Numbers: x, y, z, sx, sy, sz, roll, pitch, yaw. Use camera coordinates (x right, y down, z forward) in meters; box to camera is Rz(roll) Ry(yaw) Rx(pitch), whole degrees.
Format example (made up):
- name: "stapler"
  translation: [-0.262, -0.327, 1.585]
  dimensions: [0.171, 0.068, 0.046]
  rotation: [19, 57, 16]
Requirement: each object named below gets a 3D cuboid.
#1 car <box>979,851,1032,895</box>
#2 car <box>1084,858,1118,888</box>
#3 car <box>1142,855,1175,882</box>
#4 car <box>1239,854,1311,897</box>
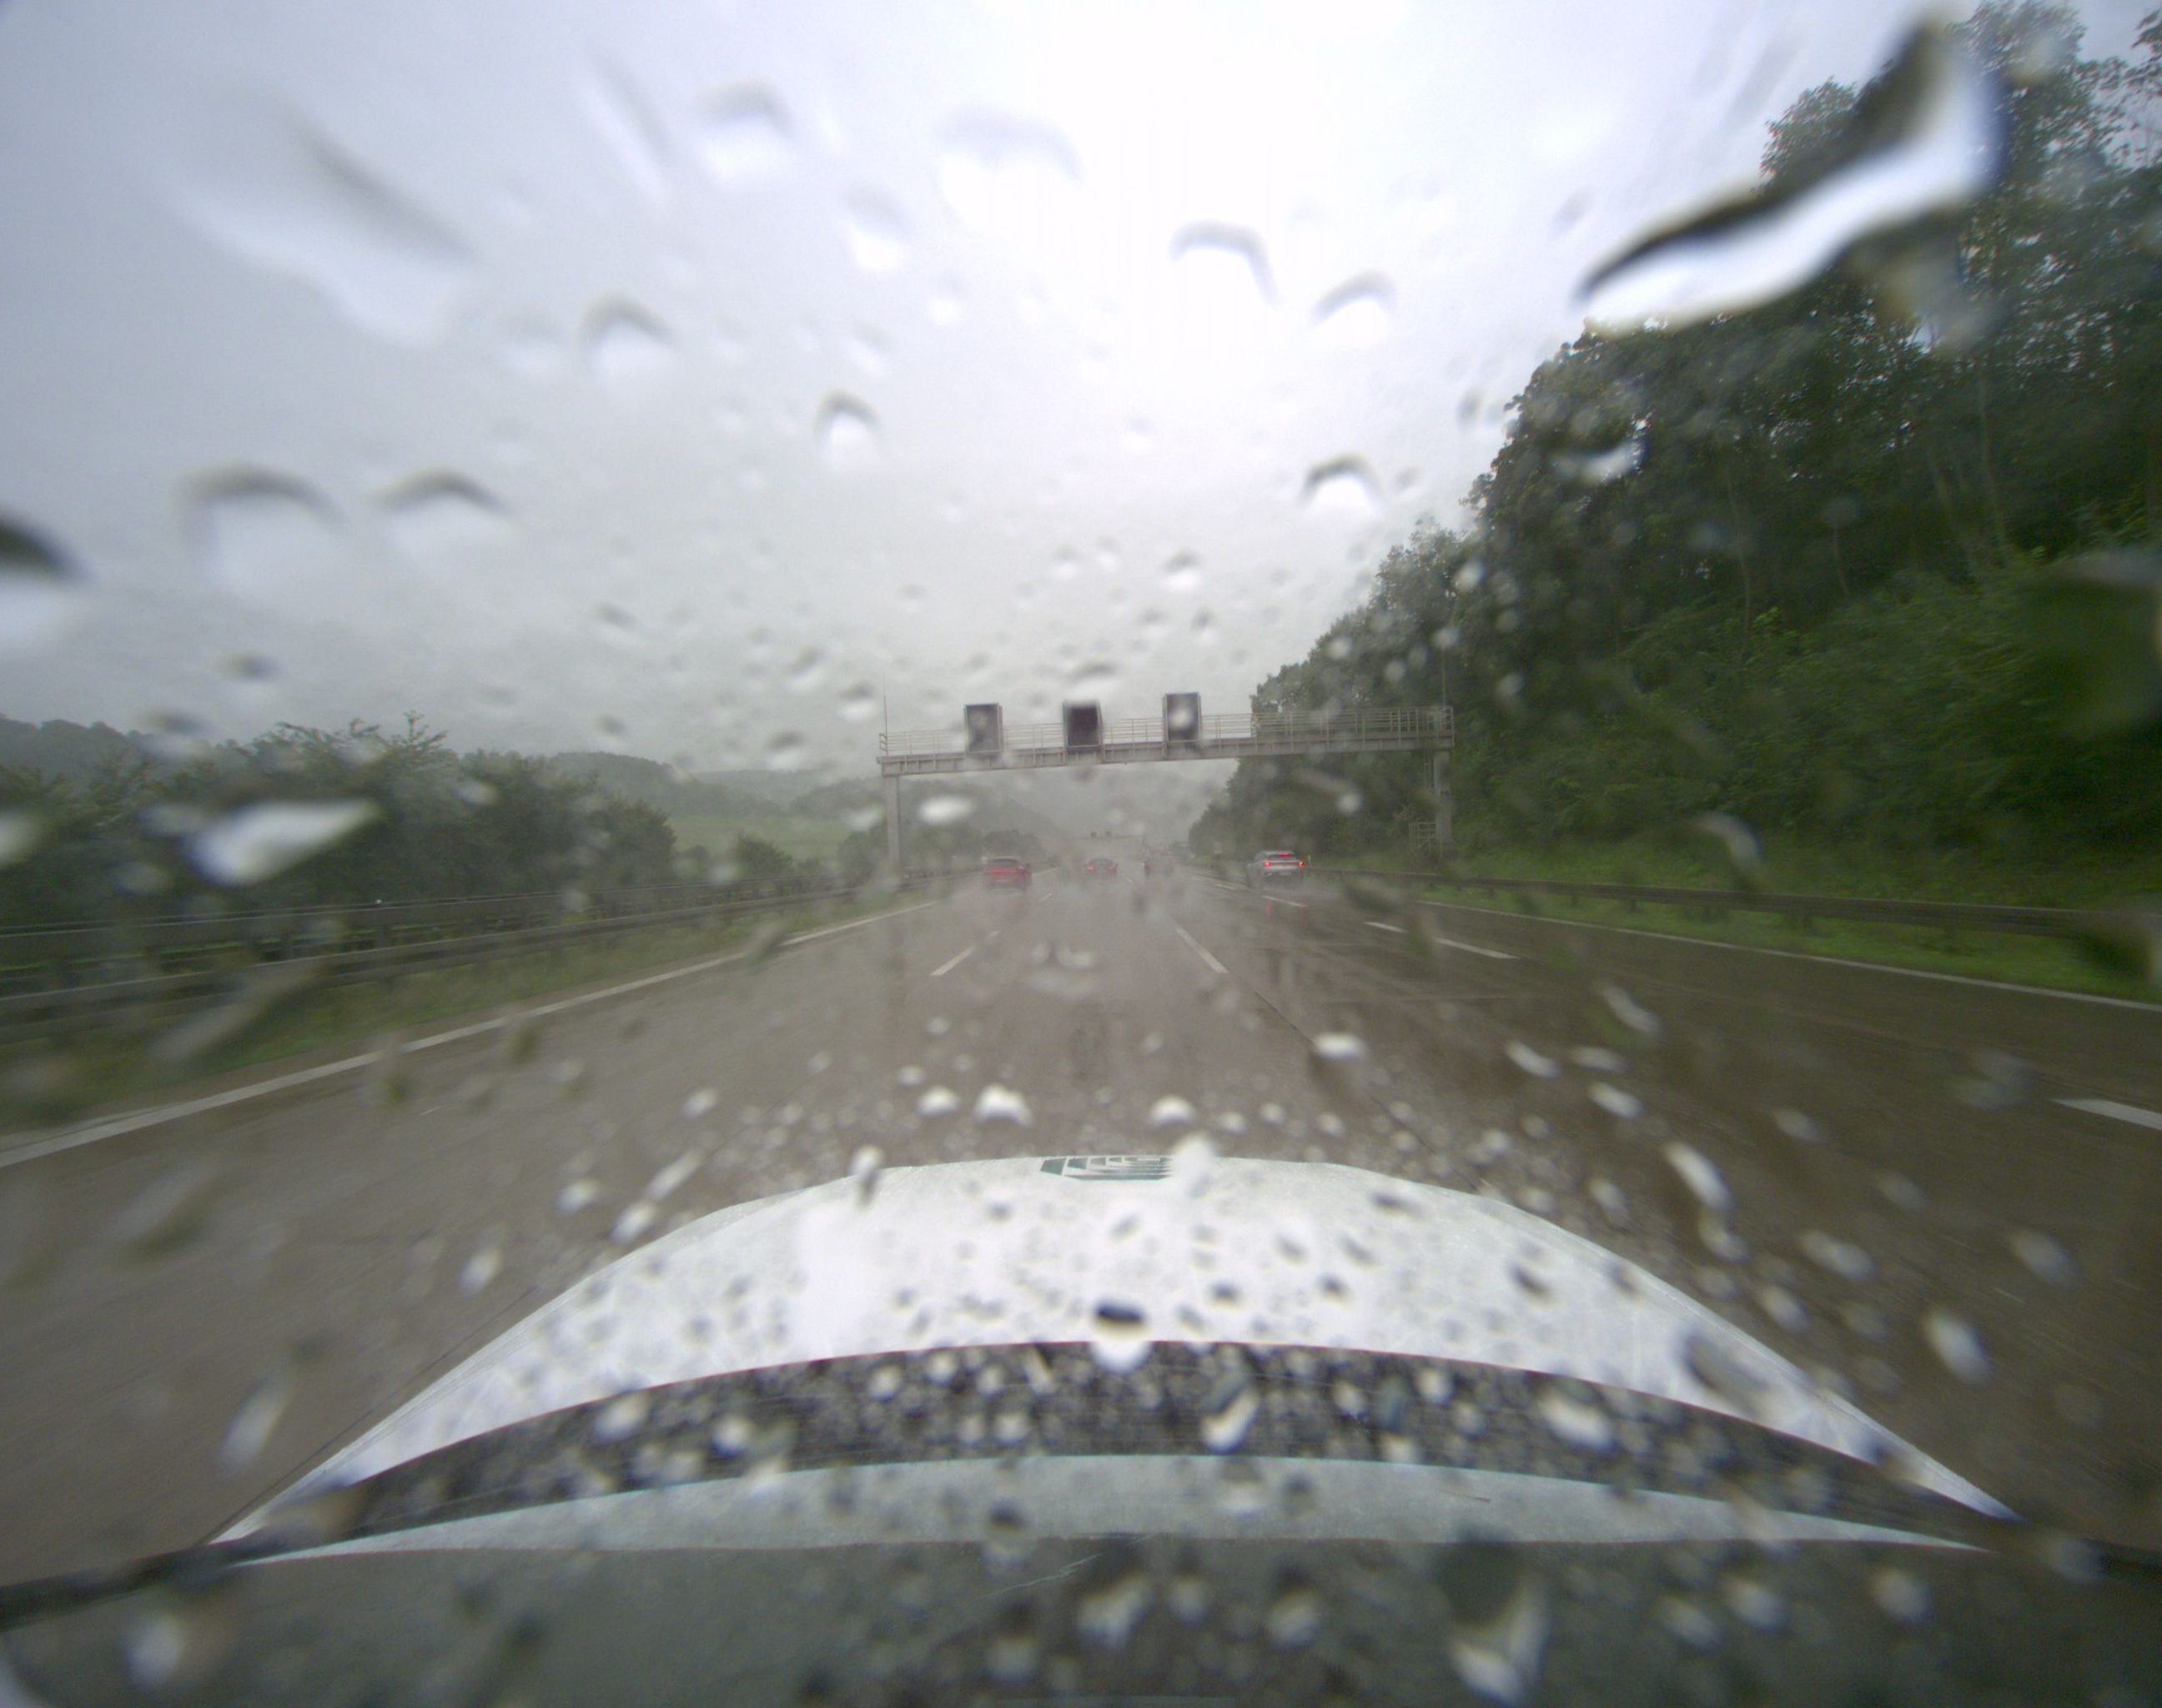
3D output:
- name: "car"
  translation: [-3.309, 0.816, 36.298]
  dimensions: [1.878, 1.816, 4.000]
  rotation: [-1, 0, 1]
- name: "car"
  translation: [1.160, 1.045, 46.305]
  dimensions: [1.853, 1.589, 4.001]
  rotation: [-1, 0, 2]
- name: "car"
  translation: [5.405, 0.967, 57.158]
  dimensions: [1.964, 1.760, 4.001]
  rotation: [-1, 0, 2]
- name: "car"
  translation: [8.485, 0.892, 36.174]
  dimensions: [1.986, 1.750, 5.664]
  rotation: [-1, 0, 2]
